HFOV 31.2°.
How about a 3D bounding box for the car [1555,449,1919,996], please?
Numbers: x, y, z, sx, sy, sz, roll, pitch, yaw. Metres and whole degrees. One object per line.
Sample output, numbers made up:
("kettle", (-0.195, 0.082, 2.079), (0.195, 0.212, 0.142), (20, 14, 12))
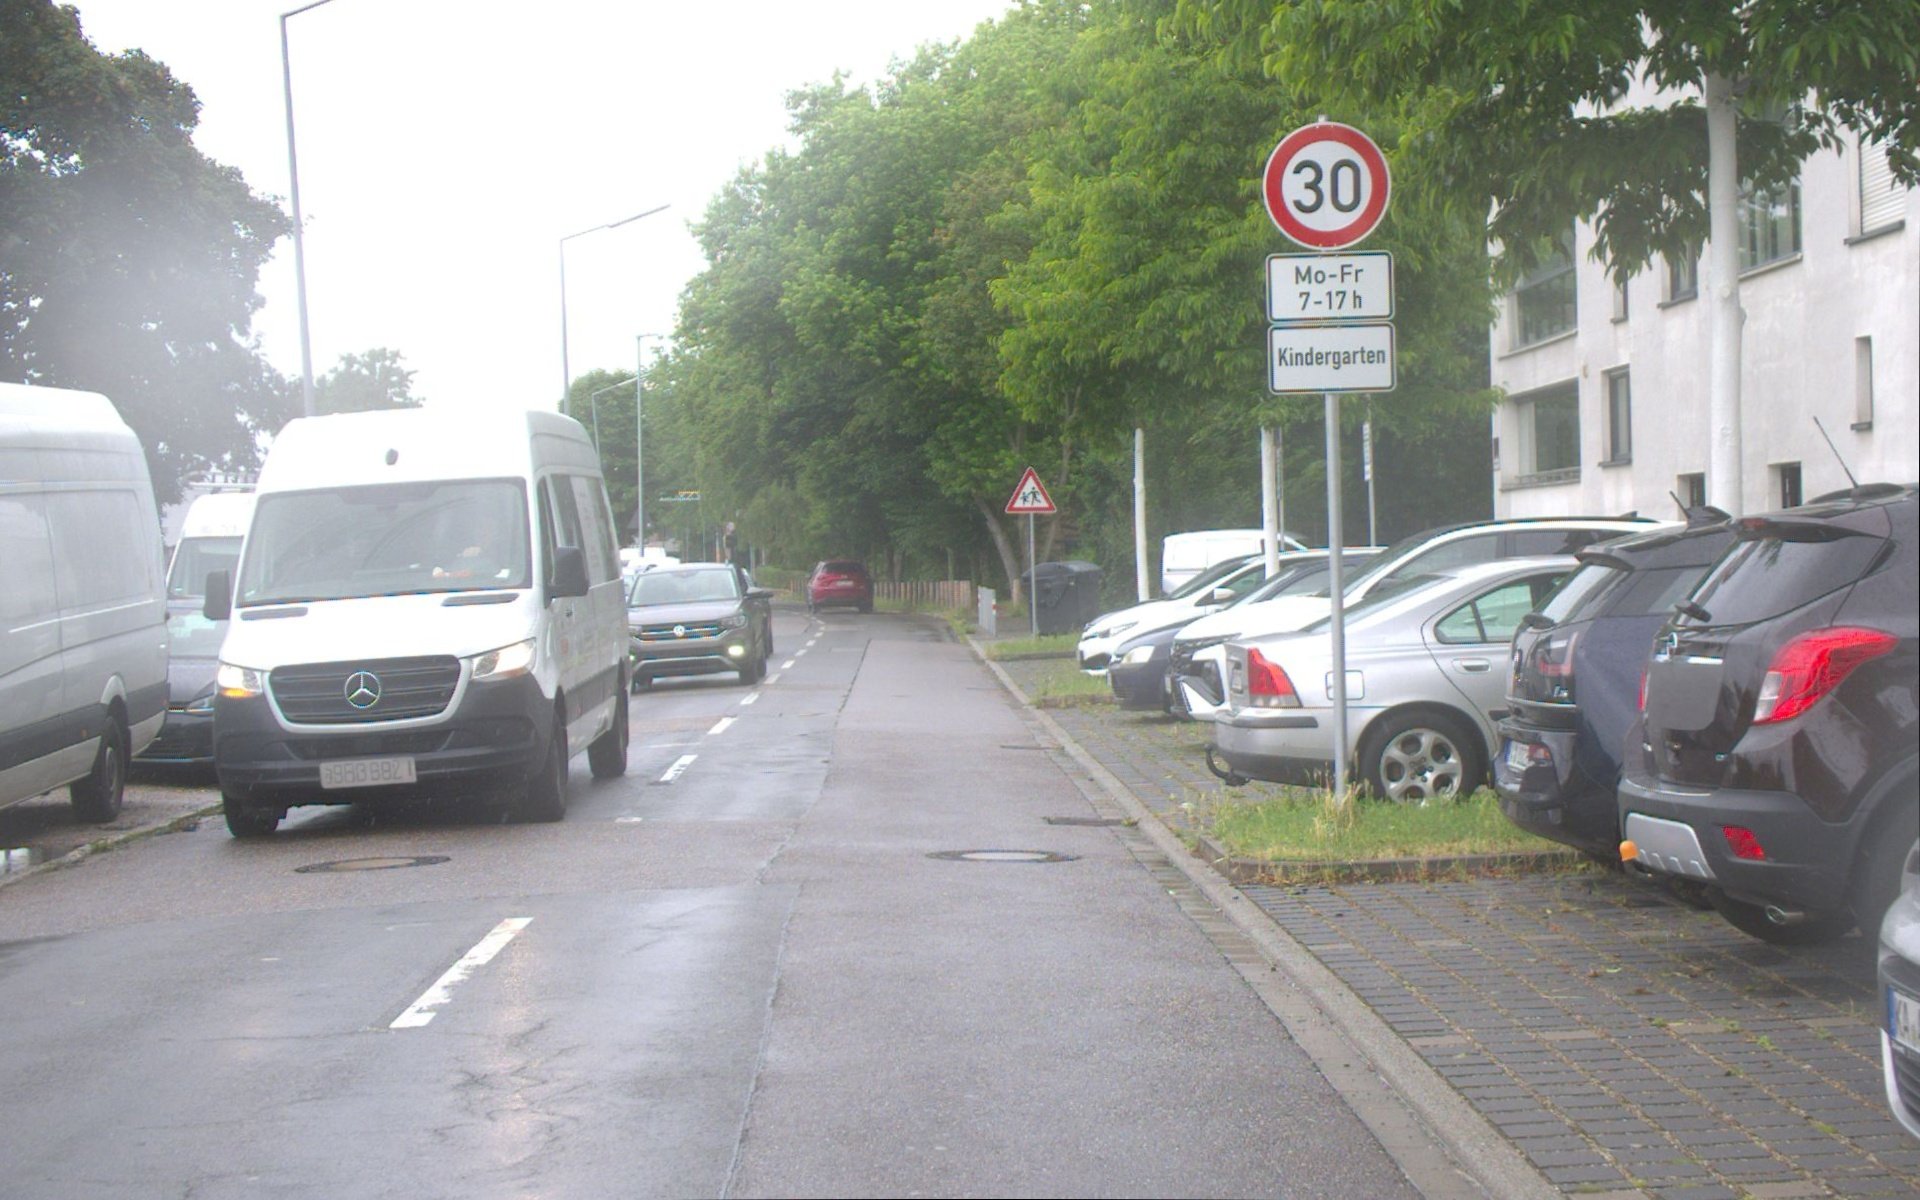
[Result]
("car", (4.184, 0.343, 11.693), (3.882, 1.675, 1.864), (-1, 1, -6))

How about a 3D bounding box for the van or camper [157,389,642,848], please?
("van or camper", (-3.446, 0.058, 22.692), (1.993, 2.488, 7.178), (-2, 1, 0))

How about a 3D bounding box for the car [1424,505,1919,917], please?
("car", (4.109, 0.401, 14.610), (3.882, 1.595, 1.864), (-1, 1, -6))

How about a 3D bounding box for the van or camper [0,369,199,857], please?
("van or camper", (-6.421, 0.054, 20.700), (1.993, 2.752, 7.898), (1, 1, -1))

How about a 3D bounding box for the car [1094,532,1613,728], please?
("car", (3.474, 0.247, 31.003), (4.387, 1.628, 2.005), (-1, 1, -1))

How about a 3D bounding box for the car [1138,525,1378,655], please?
("car", (5.374, -0.196, 61.885), (3.991, 2.285, 1.775), (0, 1, 20))

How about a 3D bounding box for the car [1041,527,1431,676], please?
("car", (3.095, 0.001, 39.024), (4.091, 1.569, 1.868), (-1, 1, -8))

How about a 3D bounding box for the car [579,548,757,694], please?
("car", (-3.682, 0.235, 43.968), (1.881, 1.751, 4.068), (-1, 1, 0))

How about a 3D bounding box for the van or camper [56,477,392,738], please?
("van or camper", (-7.516, 0.040, 35.831), (2.189, 2.453, 6.377), (1, 1, -1))

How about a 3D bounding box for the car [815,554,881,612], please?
("car", (-3.428, -0.520, 105.735), (1.756, 1.700, 4.000), (-1, 0, 1))

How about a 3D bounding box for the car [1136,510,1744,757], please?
("car", (3.646, 0.239, 26.715), (4.387, 1.770, 2.005), (-1, 1, -1))

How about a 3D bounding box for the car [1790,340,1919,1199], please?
("car", (3.903, 0.377, 6.710), (4.093, 1.888, 1.726), (-2, 1, 0))
